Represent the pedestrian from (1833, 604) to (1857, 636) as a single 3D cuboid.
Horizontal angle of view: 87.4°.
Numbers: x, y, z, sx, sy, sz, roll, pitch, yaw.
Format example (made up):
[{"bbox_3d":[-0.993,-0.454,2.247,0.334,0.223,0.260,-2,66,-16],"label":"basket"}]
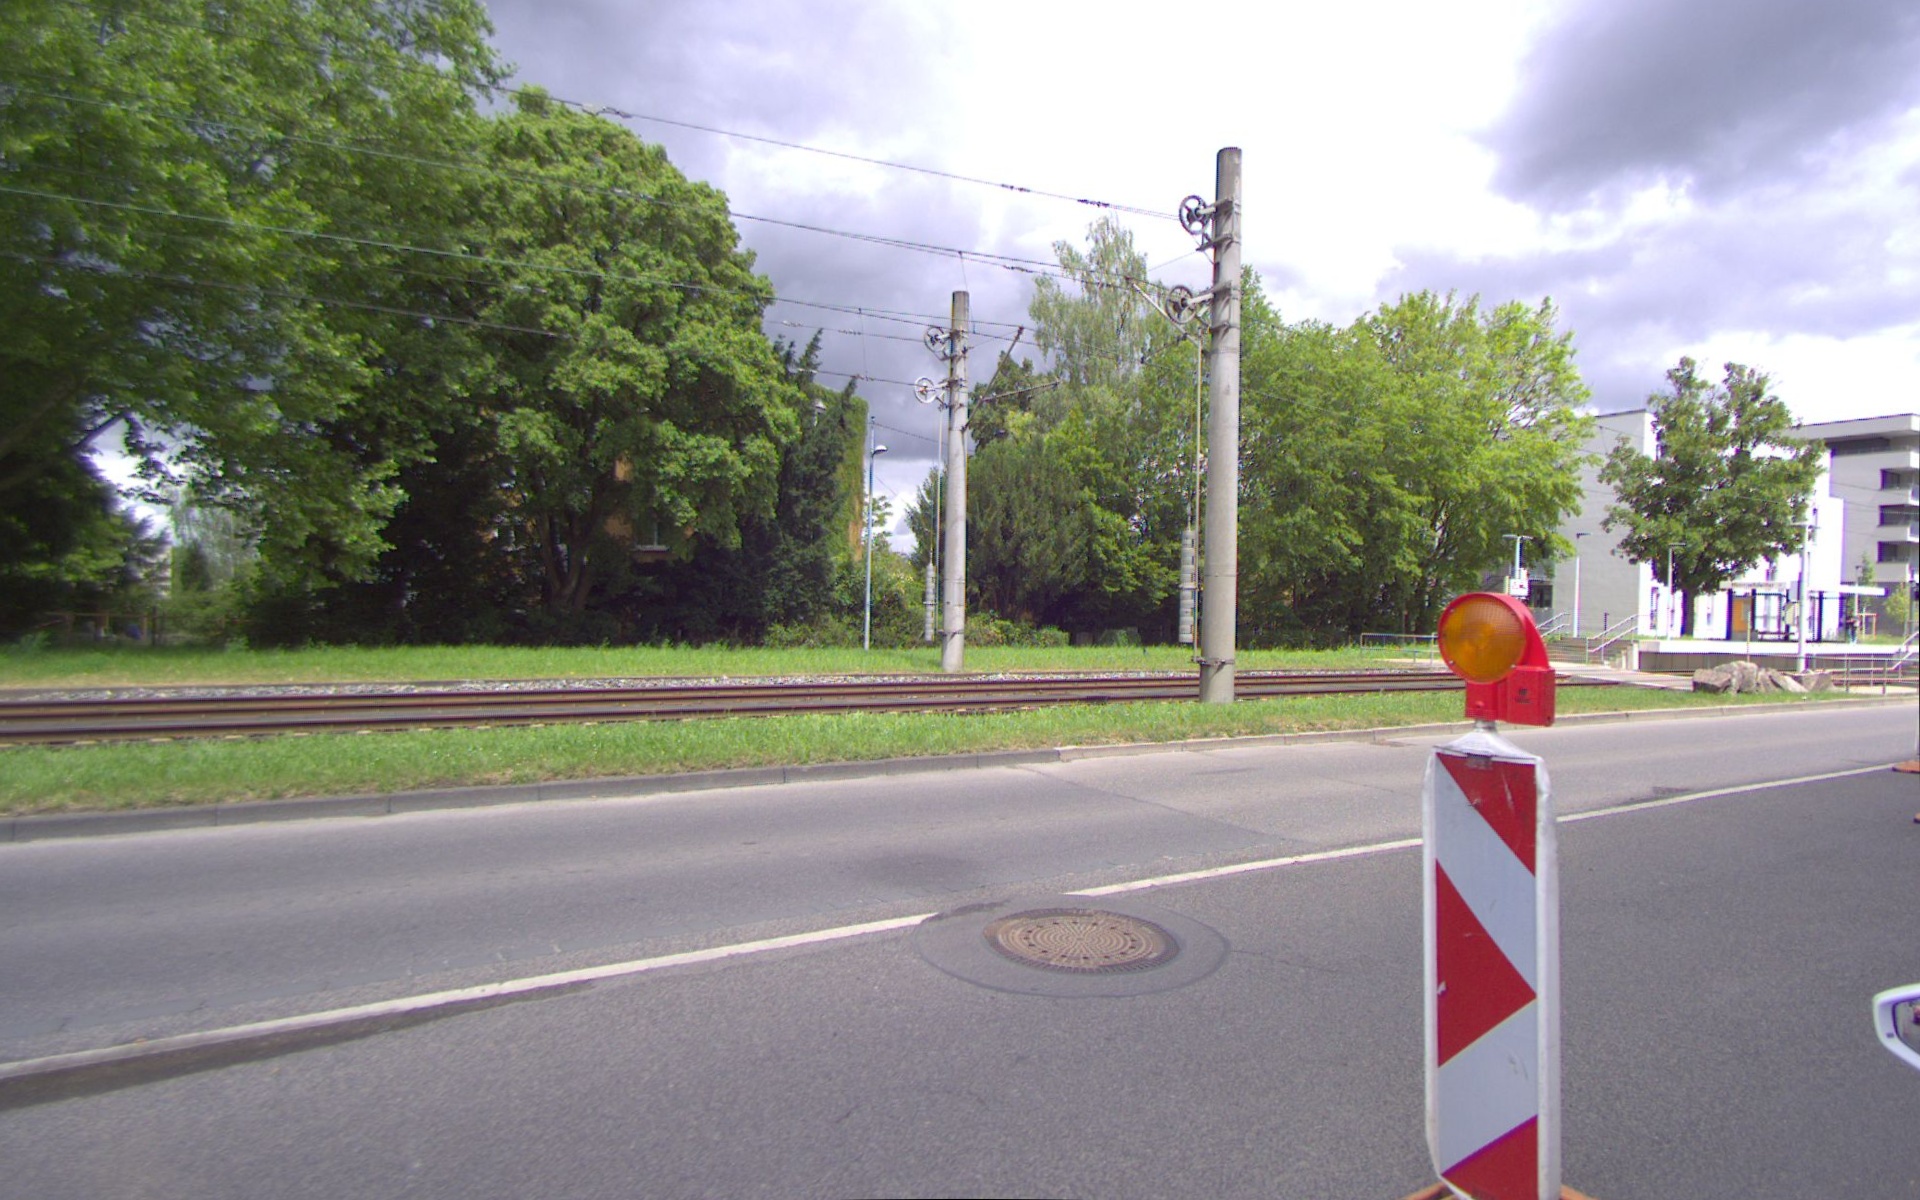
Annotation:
[{"bbox_3d":[43.915,0.990,49.845,0.540,1.551,0.738,2,0,-27],"label":"pedestrian"}]
